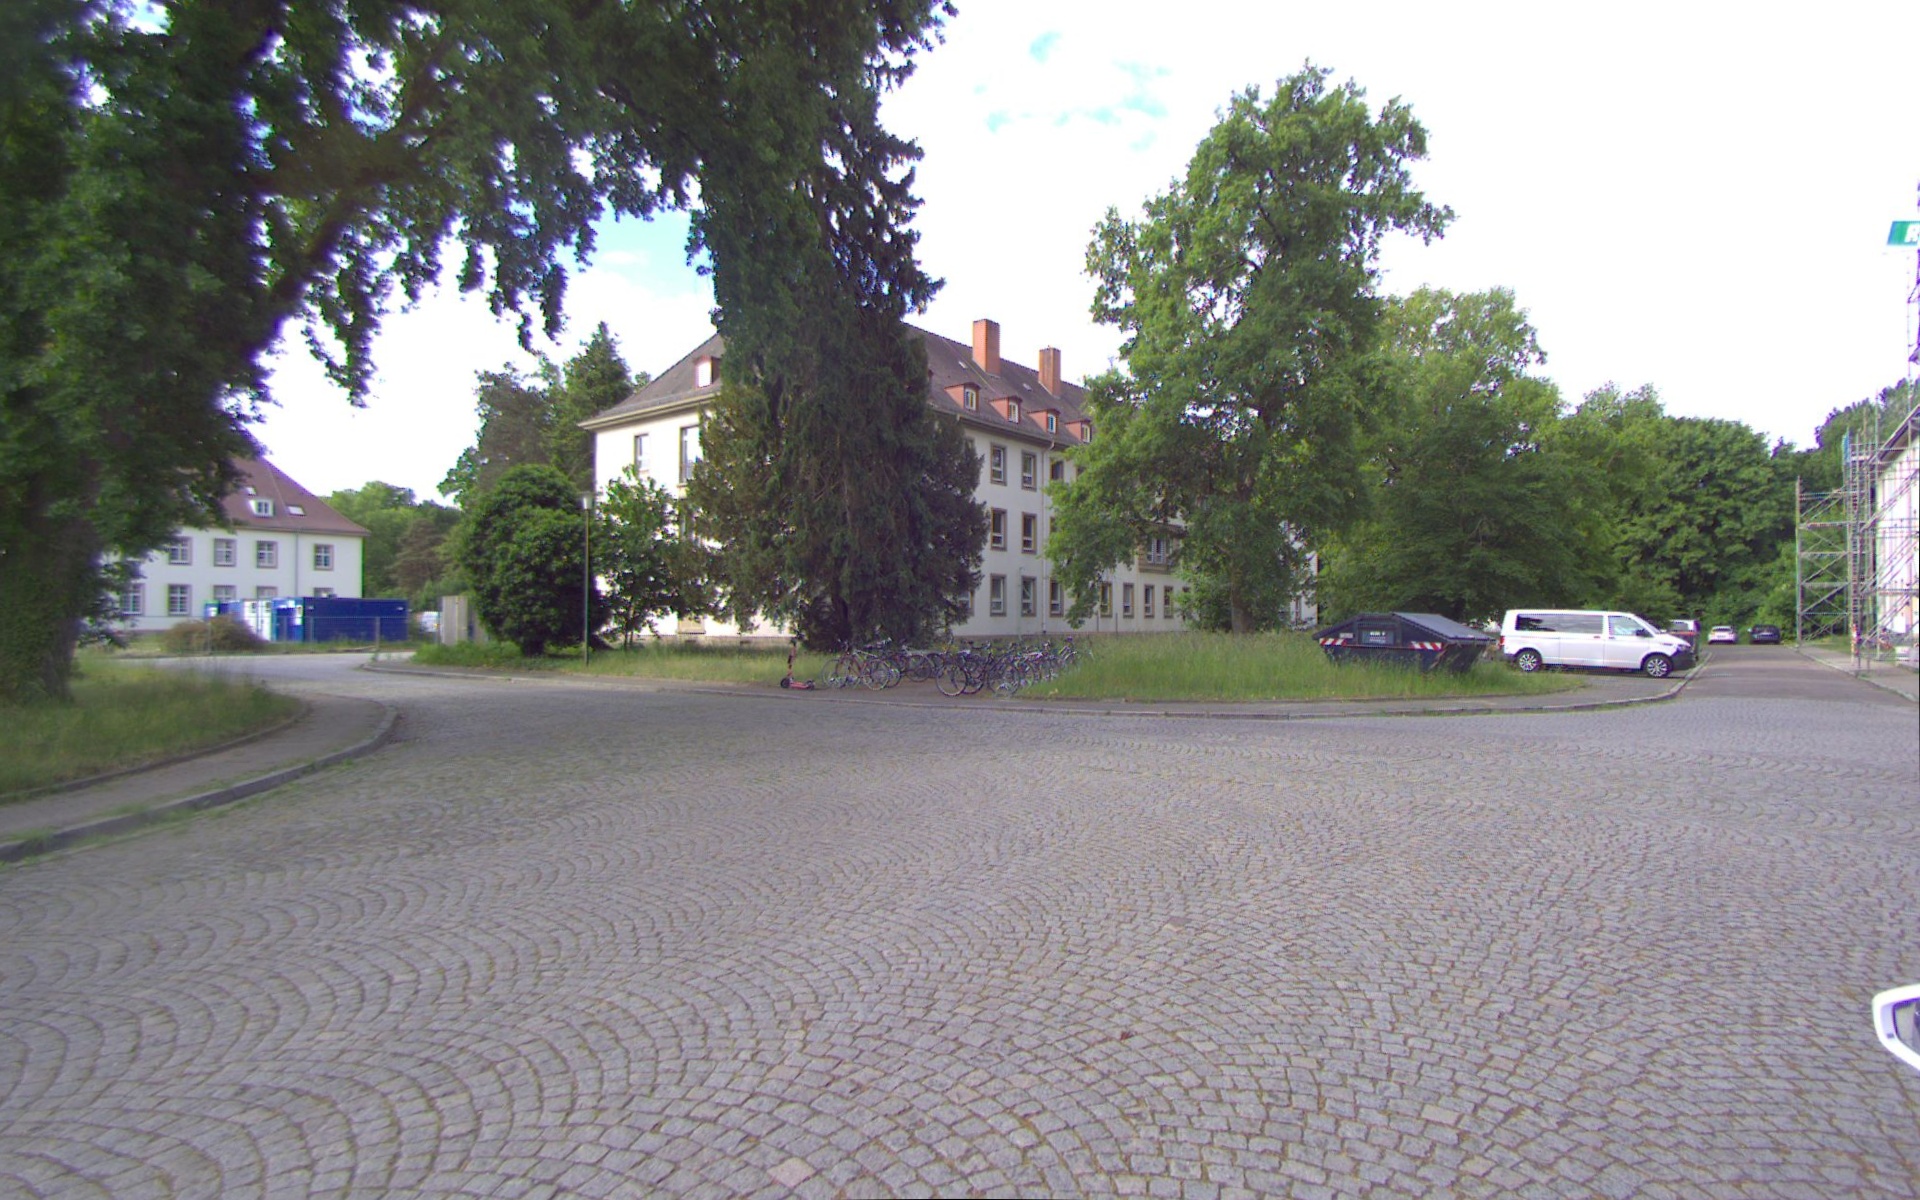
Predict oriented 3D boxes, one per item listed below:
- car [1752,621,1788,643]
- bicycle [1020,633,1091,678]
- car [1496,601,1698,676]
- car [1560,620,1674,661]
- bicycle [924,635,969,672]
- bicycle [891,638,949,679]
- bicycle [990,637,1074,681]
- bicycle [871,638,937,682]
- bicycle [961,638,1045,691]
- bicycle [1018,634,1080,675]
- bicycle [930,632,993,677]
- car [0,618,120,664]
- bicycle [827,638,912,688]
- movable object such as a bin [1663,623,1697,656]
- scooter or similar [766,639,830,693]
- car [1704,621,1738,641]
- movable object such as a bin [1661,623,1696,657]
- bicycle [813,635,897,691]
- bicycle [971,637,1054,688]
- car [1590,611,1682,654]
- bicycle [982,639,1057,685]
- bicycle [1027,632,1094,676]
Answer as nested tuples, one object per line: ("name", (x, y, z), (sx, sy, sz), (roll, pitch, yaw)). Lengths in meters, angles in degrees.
("car", (64.594, 2.554, 80.071), (2.039, 1.614, 3.980), (3, 0, 41))
("bicycle", (2.509, 1.453, 26.380), (1.742, 1.120, 0.541), (-2, 1, 20))
("car", (19.868, 1.140, 31.444), (5.136, 2.087, 2.179), (1, -1, 38))
("car", (27.301, 1.669, 41.794), (1.808, 1.500, 3.593), (3, 0, -43))
("bicycle", (-0.399, 1.578, 29.473), (1.238, 1.042, 0.434), (-2, -4, 20))
("bicycle", (-1.069, 1.570, 27.081), (1.485, 1.049, 0.545), (0, 1, 9))
("bicycle", (1.777, 1.462, 24.707), (1.922, 1.018, 0.686), (-2, 1, 20))
("bicycle", (-1.432, 1.532, 25.670), (1.596, 1.088, 0.540), (0, 1, 9))
("bicycle", (0.965, 1.439, 22.525), (1.739, 1.118, 0.702), (-2, 1, 20))
("bicycle", (2.447, 1.484, 27.573), (1.589, 1.073, 0.526), (-2, 1, 20))
("bicycle", (0.041, 1.488, 27.518), (1.611, 1.201, 0.574), (0, 1, 13))
("car", (-47.809, 2.132, 52.611), (2.093, 2.236, 5.509), (3, 0, 38))
("bicycle", (-2.187, 1.508, 24.218), (1.952, 1.129, 0.643), (0, 1, 20))
("movable object such as a bin", (32.997, 1.814, 46.027), (1.169, 1.426, 0.971), (3, 0, 39))
("scooter or similar", (-3.824, 1.532, 23.708), (1.530, 1.211, 0.678), (-2, -1, 42))
("car", (61.971, 2.534, 81.852), (1.975, 1.568, 3.946), (3, 0, 35))
("movable object such as a bin", (32.217, 1.777, 45.039), (1.169, 1.426, 0.971), (3, 0, 39))
("bicycle", (-2.476, 1.463, 23.598), (1.864, 1.239, 0.643), (0, 1, 20))
("bicycle", (1.207, 1.444, 23.215), (1.764, 1.118, 0.702), (-2, 1, 20))
("car", (35.978, 1.706, 53.524), (3.933, 2.040, 1.916), (3, 0, 35))
("bicycle", (1.414, 1.475, 23.890), (1.663, 1.015, 0.632), (-2, 1, 20))
("bicycle", (2.695, 1.448, 26.895), (1.669, 1.131, 0.541), (-2, 1, 20))
